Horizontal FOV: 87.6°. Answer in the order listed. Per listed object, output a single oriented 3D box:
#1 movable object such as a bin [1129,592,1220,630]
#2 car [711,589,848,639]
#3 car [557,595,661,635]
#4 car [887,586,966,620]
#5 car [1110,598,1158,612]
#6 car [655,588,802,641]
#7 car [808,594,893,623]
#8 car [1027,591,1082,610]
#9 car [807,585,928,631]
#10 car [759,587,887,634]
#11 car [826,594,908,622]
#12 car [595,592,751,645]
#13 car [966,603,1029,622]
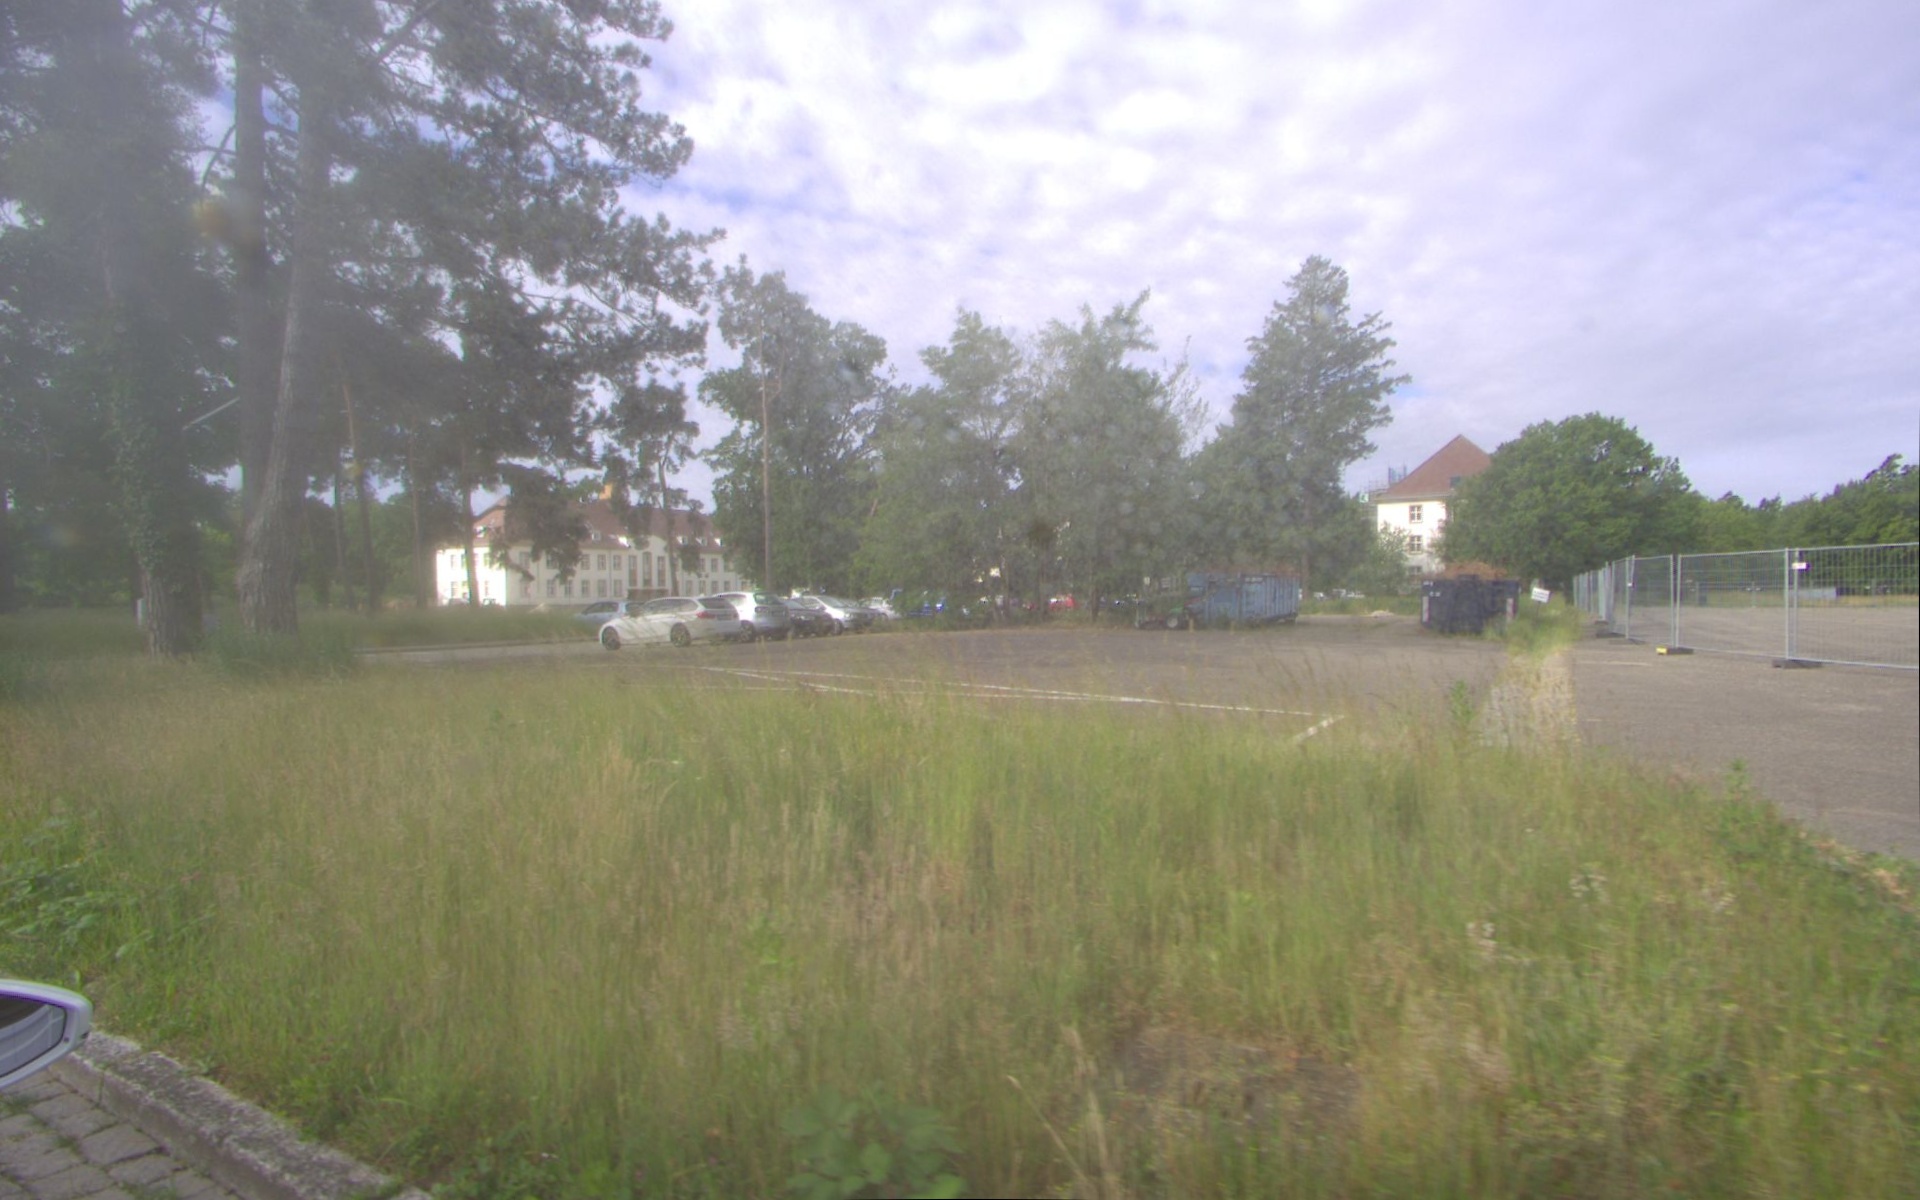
[{"bbox_3d":[6.522,0.314,30.527,2.504,1.098,1.060,1,2,30],"label":"movable object such as a bin"},{"bbox_3d":[-6.130,0.441,33.974,4.378,1.598,1.864,0,1,28],"label":"car"},{"bbox_3d":[-14.546,0.607,41.436,4.384,1.545,1.748,0,1,33],"label":"car"},{"bbox_3d":[-2.054,0.171,61.167,4.585,1.994,1.750,0,1,28],"label":"car"},{"bbox_3d":[15.640,0.460,89.830,3.936,1.226,1.656,0,1,26],"label":"car"},{"bbox_3d":[-7.304,0.432,31.549,4.378,1.598,1.864,0,1,28],"label":"car"},{"bbox_3d":[-5.994,0.450,54.537,4.378,1.544,1.750,0,1,28],"label":"car"},{"bbox_3d":[7.360,0.039,77.870,3.936,1.373,1.656,0,1,26],"label":"car"},{"bbox_3d":[-3.582,0.285,38.676,4.378,1.709,1.864,0,1,28],"label":"car"},{"bbox_3d":[-4.995,0.364,36.472,4.378,1.598,1.864,0,1,28],"label":"car"},{"bbox_3d":[-5.286,0.442,56.901,4.378,1.544,1.750,0,1,28],"label":"car"},{"bbox_3d":[-8.395,0.533,29.193,4.379,1.434,1.750,-1,0,28],"label":"car"},{"bbox_3d":[2.574,0.844,68.590,3.933,1.226,1.657,0,1,23],"label":"car"}]
